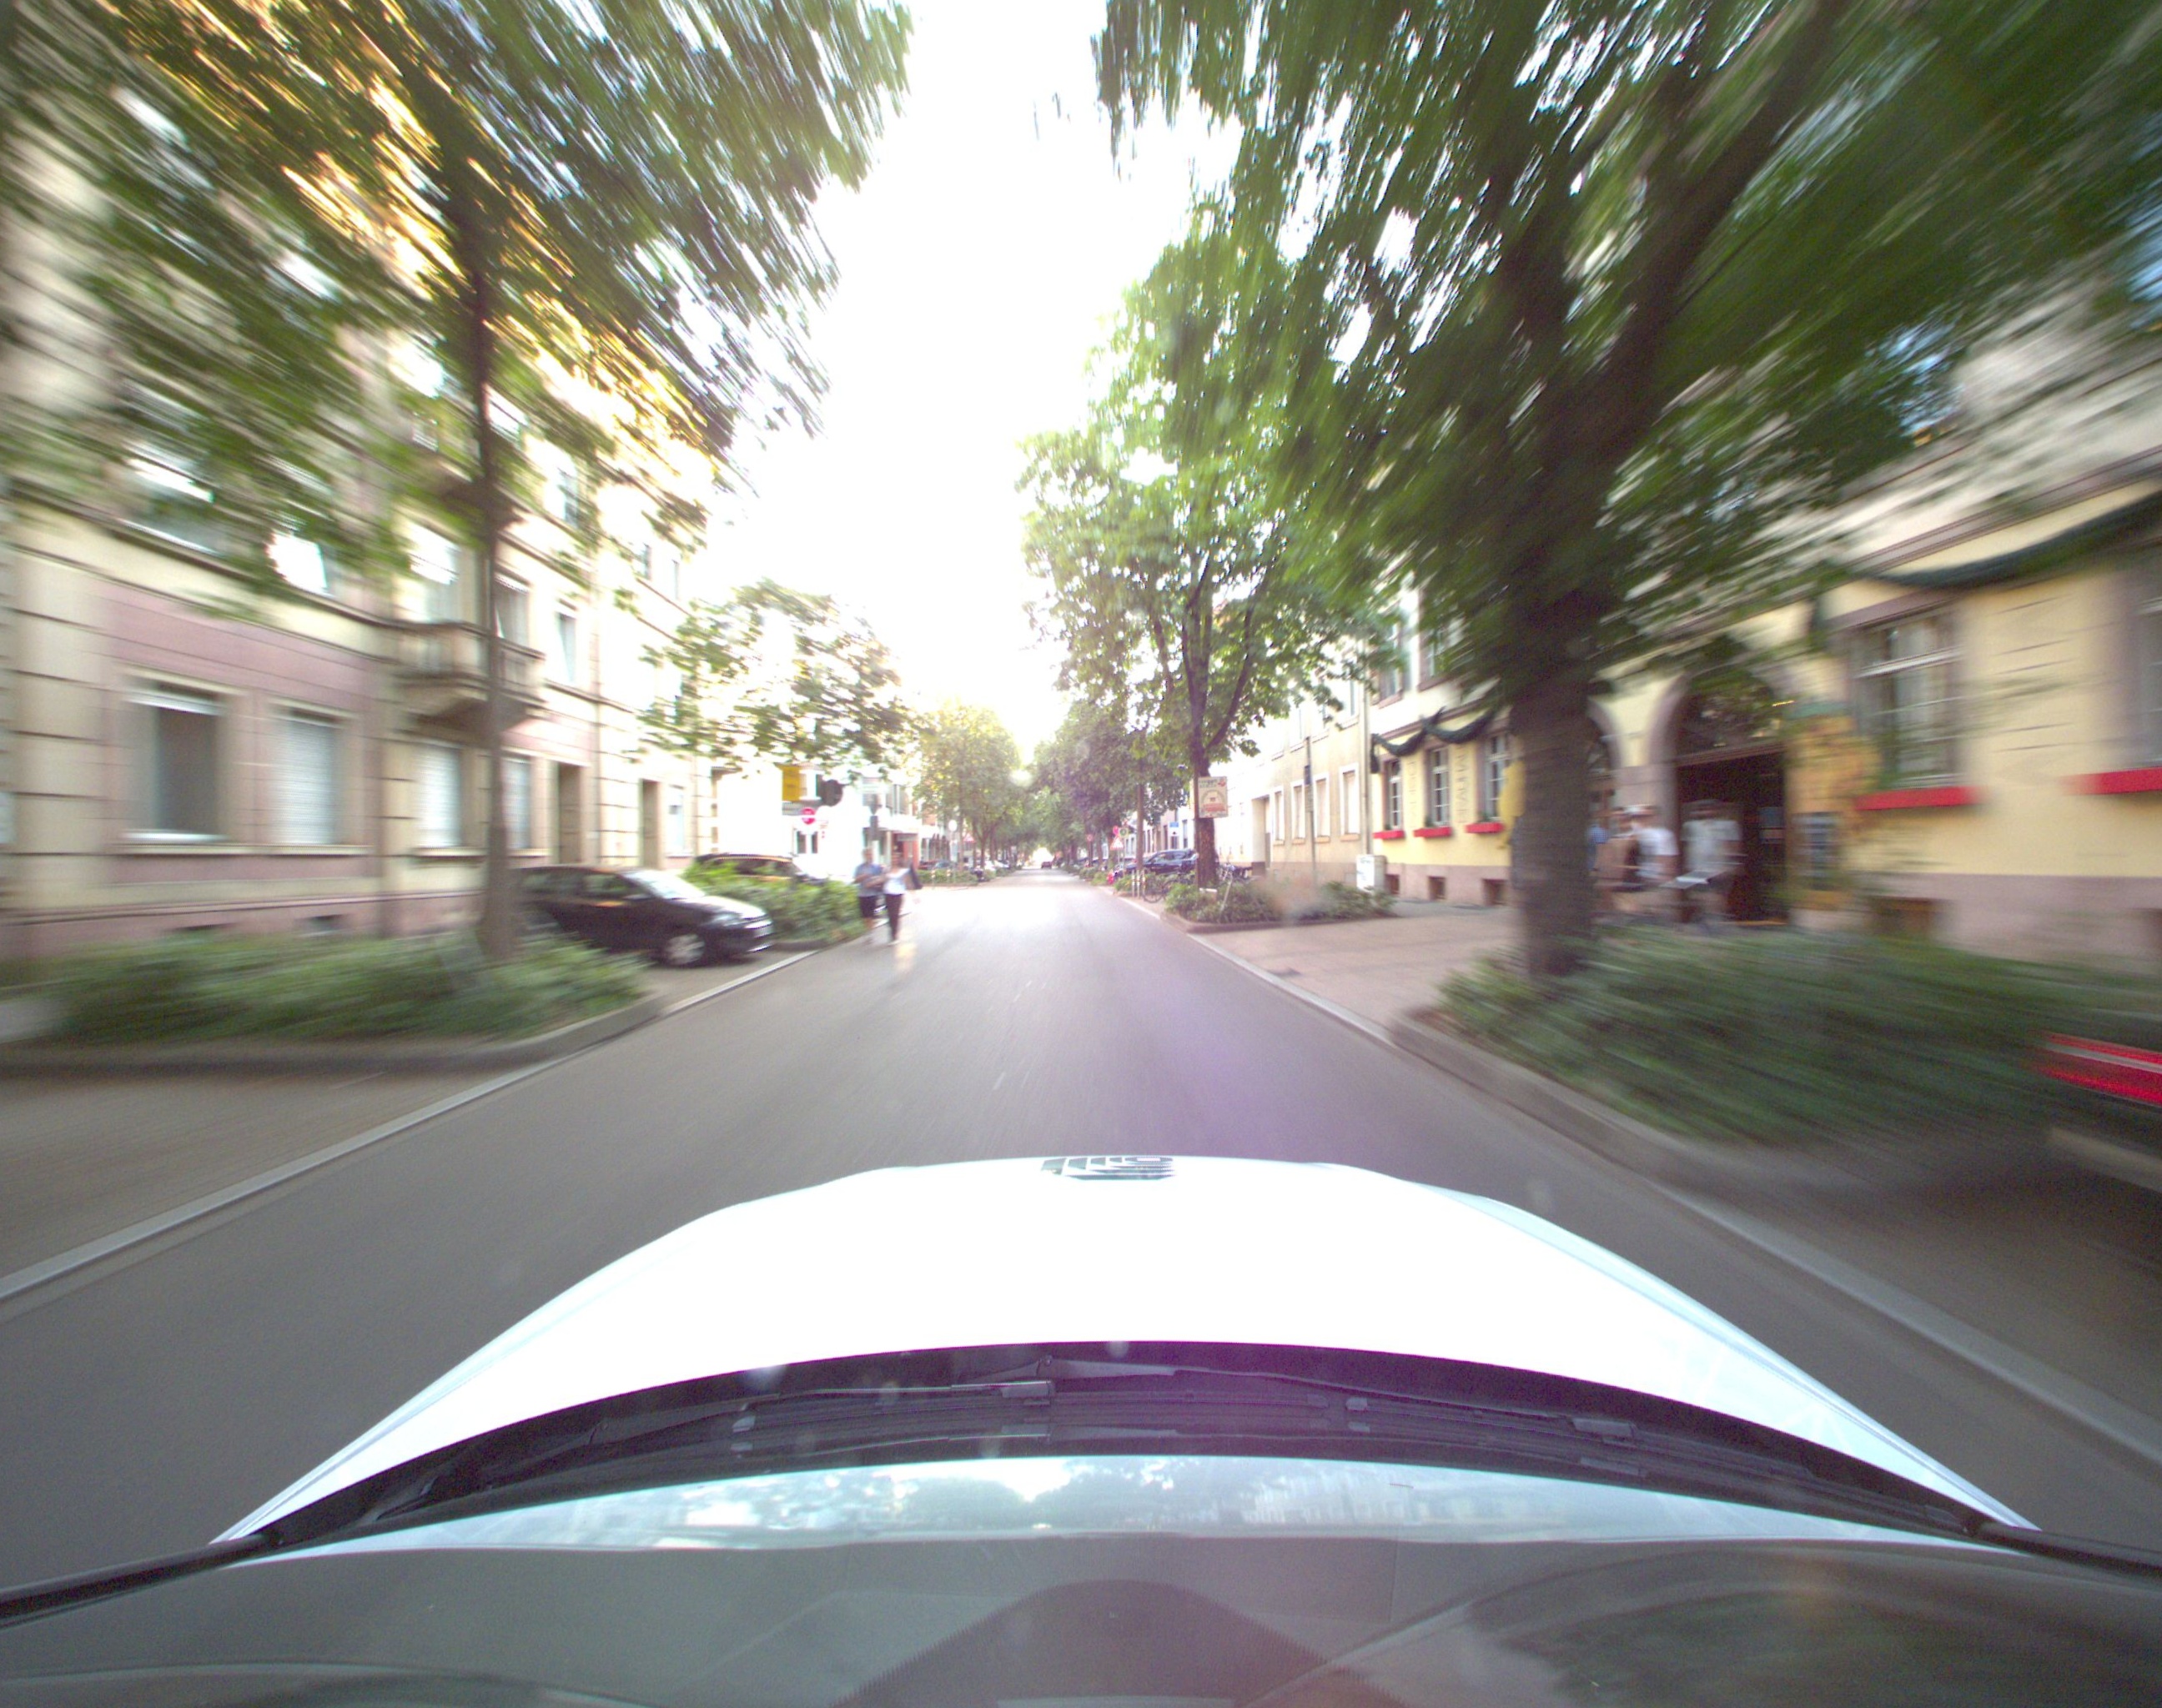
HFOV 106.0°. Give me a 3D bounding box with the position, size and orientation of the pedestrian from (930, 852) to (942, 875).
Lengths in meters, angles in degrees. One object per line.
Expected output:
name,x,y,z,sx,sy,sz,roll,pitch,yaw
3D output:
pedestrian,-11.562,0.756,64.985,0.697,1.757,0.743,-1,-1,21

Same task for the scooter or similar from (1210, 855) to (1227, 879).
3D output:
scooter or similar,6.730,0.618,39.929,0.653,1.153,0.830,-2,0,-2

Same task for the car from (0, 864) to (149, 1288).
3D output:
car,-5.860,0.811,2.349,3.937,1.532,1.905,0,-1,-4

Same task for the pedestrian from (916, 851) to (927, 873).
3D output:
pedestrian,-12.539,0.657,64.089,0.701,1.728,0.904,-1,-1,-3

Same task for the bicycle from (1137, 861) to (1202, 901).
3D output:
bicycle,2.767,0.838,25.496,1.839,1.135,0.741,-2,0,-13

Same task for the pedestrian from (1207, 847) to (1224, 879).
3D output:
pedestrian,6.703,0.441,40.525,0.653,1.536,0.830,-2,0,-2

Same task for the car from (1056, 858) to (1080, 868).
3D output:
car,-2.351,1.564,147.019,4.259,1.565,1.961,-3,-1,-3

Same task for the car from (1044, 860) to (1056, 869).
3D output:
car,-5.450,1.820,142.101,1.952,1.565,4.278,-3,-1,-3

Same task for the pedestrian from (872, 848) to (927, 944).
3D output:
pedestrian,-3.291,0.747,14.797,0.793,1.670,0.830,-2,0,-4

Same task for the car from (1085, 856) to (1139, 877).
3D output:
car,2.345,0.929,61.917,3.872,1.440,1.844,-2,0,-6

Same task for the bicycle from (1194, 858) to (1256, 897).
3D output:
bicycle,4.594,0.752,25.964,1.796,1.143,0.666,-2,0,-12

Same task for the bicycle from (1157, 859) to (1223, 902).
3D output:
bicycle,3.234,0.793,24.303,1.826,1.178,0.600,-2,0,-4

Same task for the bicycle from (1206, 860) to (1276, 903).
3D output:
bicycle,4.533,0.763,23.085,1.794,1.128,0.662,-2,0,-9

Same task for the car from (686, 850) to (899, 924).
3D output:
car,-6.769,0.759,19.476,4.414,1.651,1.871,0,0,-2

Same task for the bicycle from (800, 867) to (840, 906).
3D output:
bicycle,-7.201,0.889,22.525,0.521,1.019,1.860,2,-2,-2

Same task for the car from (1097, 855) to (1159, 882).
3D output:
car,2.783,0.856,49.110,3.478,1.452,1.896,-2,0,-5

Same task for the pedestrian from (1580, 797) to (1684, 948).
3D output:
pedestrian,6.718,0.211,9.951,0.708,1.739,0.722,-3,1,-19

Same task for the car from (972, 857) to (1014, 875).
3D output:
car,-10.374,1.438,95.993,4.672,1.854,1.961,-3,-1,-3

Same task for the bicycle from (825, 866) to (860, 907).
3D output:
bicycle,-6.599,0.898,22.571,0.521,1.059,1.858,2,-2,-5

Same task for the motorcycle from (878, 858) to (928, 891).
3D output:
motorcycle,-8.468,0.947,38.661,2.217,1.481,0.853,-1,1,-22

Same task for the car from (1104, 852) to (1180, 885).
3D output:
car,3.025,0.725,40.596,3.478,1.452,1.896,-2,0,-5

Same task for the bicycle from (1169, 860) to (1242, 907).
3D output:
bicycle,3.375,0.790,22.106,1.826,1.178,0.672,-2,0,-4

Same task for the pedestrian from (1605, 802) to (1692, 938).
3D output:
pedestrian,7.570,0.202,10.897,0.706,1.739,0.751,-3,1,17

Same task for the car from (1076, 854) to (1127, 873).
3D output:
car,1.867,0.864,75.781,4.704,1.710,1.949,-1,0,-2

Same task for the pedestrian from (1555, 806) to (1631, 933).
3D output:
pedestrian,7.314,0.211,11.659,0.613,1.739,0.623,-3,1,-3

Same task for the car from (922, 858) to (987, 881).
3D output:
car,-8.404,1.044,54.412,4.119,1.486,1.927,0,-1,-4

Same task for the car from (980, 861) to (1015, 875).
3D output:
car,-10.593,1.767,103.704,4.194,1.635,1.961,-3,-1,-3

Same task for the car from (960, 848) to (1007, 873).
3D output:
car,-9.956,0.664,83.578,4.672,2.478,1.998,-1,-1,-3

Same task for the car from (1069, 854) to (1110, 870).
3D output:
car,0.956,0.923,91.108,4.493,1.521,1.995,-3,-1,0

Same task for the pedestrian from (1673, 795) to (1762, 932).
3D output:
pedestrian,8.453,0.125,10.854,0.718,1.739,0.749,-3,1,24

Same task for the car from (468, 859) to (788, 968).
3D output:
car,-6.540,0.824,12.127,3.684,1.458,1.870,0,0,-4

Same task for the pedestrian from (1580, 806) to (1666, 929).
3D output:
pedestrian,8.095,0.190,12.179,0.779,1.739,0.680,-3,1,-19

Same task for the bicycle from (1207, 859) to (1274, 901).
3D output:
bicycle,4.685,0.749,23.912,1.795,1.143,0.649,-2,0,-12

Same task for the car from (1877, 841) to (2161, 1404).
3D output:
car,4.957,0.554,1.980,4.394,1.393,1.882,-5,0,-5

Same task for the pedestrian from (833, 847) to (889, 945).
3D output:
pedestrian,-4.089,0.764,15.168,0.793,1.737,0.830,-2,0,-4

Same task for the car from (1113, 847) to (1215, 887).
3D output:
car,3.731,0.566,37.324,4.414,1.656,1.898,-2,0,-2

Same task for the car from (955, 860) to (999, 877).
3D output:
car,-9.594,1.329,75.331,3.860,1.486,1.756,0,-1,-2

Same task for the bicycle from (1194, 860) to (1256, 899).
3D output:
bicycle,4.451,0.776,25.269,1.793,1.107,0.499,-2,0,-9

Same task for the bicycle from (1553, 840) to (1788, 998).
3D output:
bicycle,5.381,0.557,7.461,1.796,1.233,0.670,-4,0,-13

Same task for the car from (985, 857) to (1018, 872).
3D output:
car,-11.925,1.562,122.790,4.752,1.984,1.961,-3,-1,-3

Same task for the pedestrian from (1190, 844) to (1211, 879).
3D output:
pedestrian,6.023,0.361,40.989,0.694,1.737,0.667,-2,-1,-34
